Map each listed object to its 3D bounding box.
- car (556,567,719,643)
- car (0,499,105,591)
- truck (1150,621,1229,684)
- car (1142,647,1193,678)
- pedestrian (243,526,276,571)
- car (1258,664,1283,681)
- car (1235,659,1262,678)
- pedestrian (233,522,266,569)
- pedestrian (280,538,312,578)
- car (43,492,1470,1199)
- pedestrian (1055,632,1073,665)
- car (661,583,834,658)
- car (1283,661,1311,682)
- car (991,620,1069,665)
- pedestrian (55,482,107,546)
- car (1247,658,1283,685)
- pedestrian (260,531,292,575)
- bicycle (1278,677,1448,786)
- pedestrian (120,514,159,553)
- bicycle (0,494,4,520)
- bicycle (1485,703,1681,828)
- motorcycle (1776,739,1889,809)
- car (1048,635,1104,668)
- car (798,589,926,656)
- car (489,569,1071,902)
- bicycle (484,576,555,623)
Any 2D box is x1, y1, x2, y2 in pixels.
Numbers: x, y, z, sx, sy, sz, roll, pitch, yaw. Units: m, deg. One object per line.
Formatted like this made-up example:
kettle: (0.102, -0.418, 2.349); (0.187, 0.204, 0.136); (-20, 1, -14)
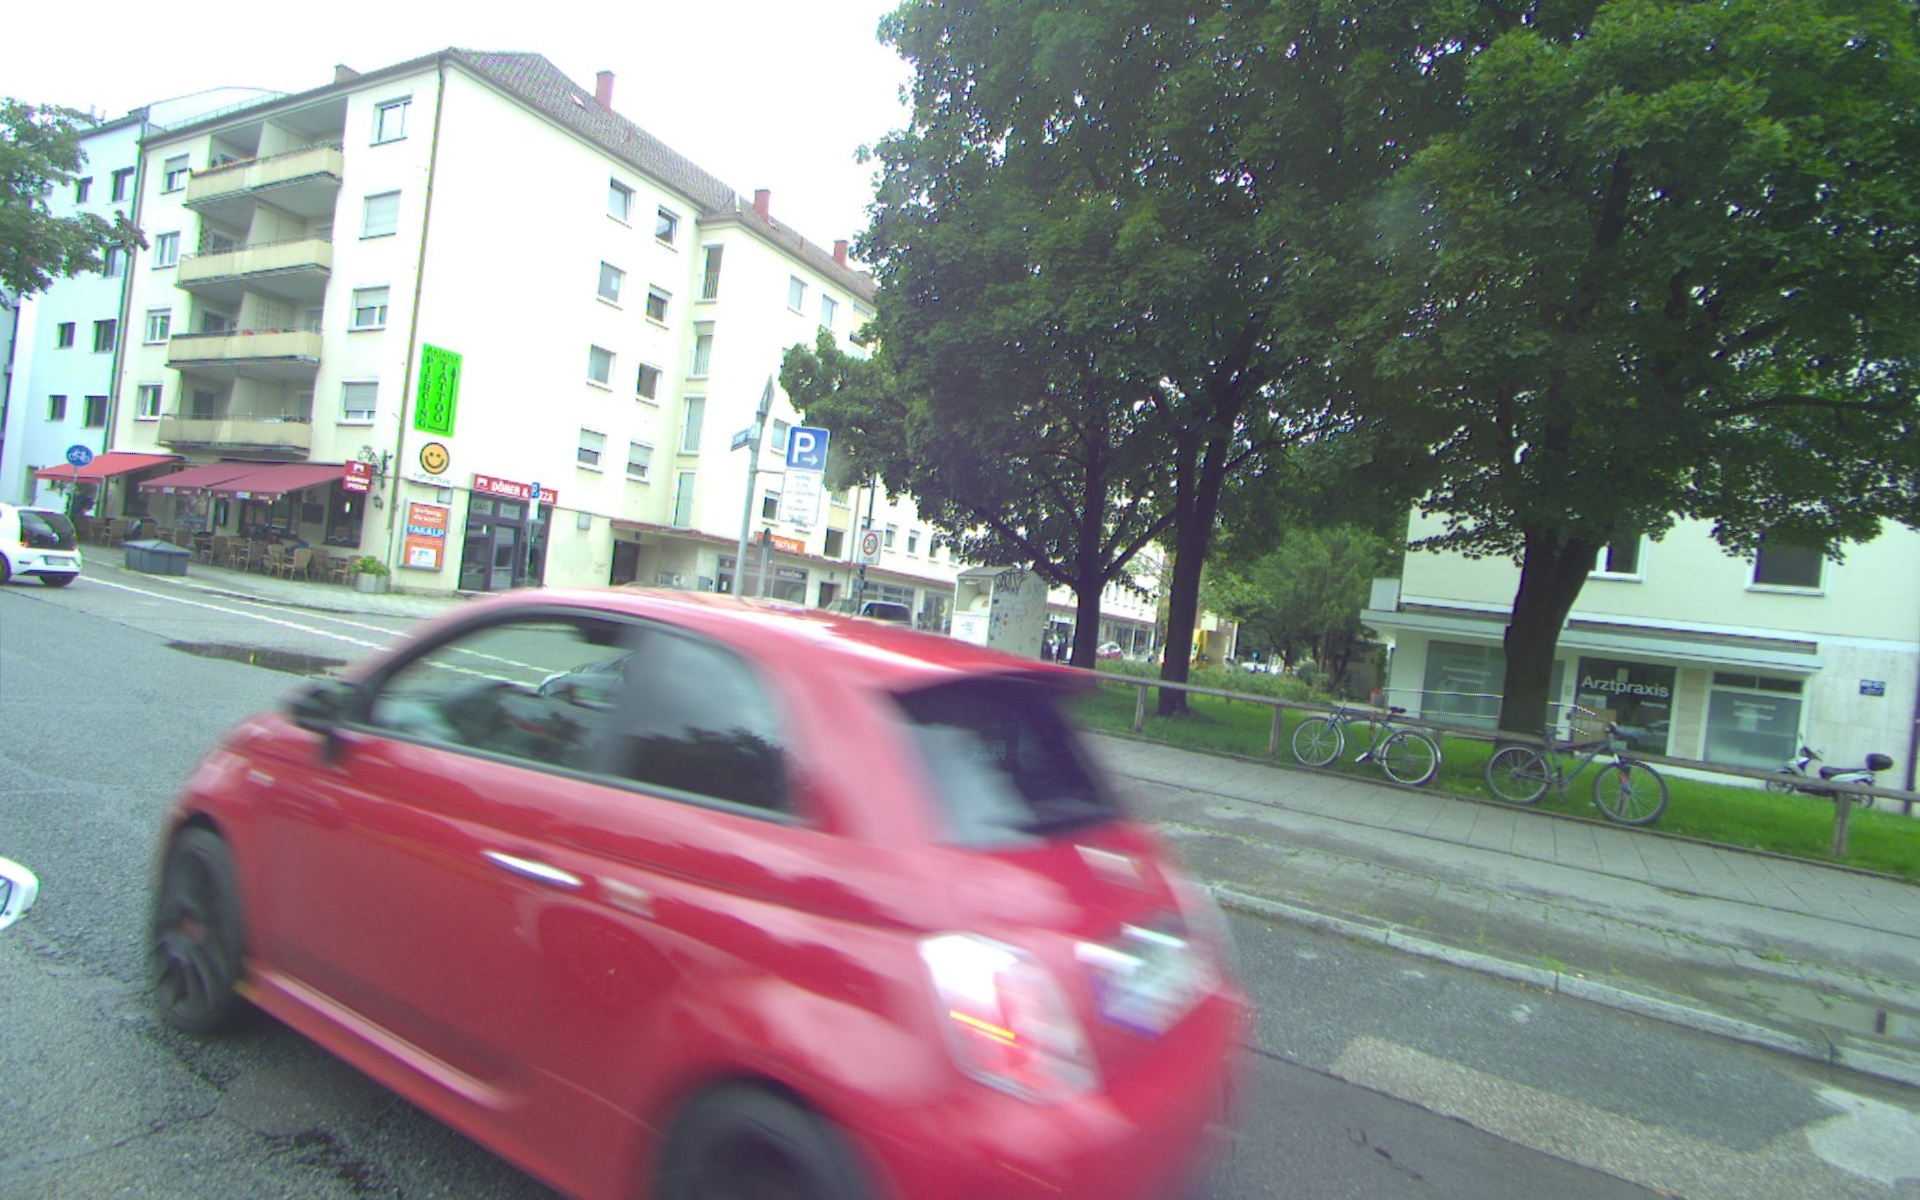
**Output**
car: (-8.539, 0.187, 26.946); (1.701, 1.537, 3.933); (7, -1, 29)
car: (-18.034, -1.161, 18.238); (3.375, 1.507, 1.691); (8, -1, -6)
truck: (11.962, 2.794, 52.019); (2.236, 2.803, 6.765); (7, -1, 26)
car: (14.882, 4.525, 71.839); (1.966, 1.806, 4.994); (7, -1, 29)
pedestrian: (-21.410, -1.584, 30.750); (0.478, 1.283, 0.539); (7, 0, 30)
car: (32.737, 7.622, 106.004); (1.573, 1.459, 3.764); (7, -1, 29)
car: (27.493, 6.536, 95.845); (1.573, 1.459, 3.764); (7, -1, 29)
pedestrian: (-22.134, -1.694, 31.322); (0.543, 1.355, 0.539); (7, 0, 30)
pedestrian: (-19.367, -1.215, 29.334); (0.479, 1.066, 0.539); (7, 0, 31)
car: (-0.886, 0.668, 3.174); (4.228, 1.518, 1.722); (7, -1, 31)
pedestrian: (5.176, 2.403, 49.976); (0.486, 1.551, 0.733); (7, 0, 31)
car: (-5.544, 0.588, 26.713); (1.968, 1.459, 4.213); (7, -1, 34)
car: (30.577, 6.521, 91.279); (1.573, 1.638, 3.764); (7, -1, 30)
car: (3.576, 2.156, 50.112); (2.117, 1.806, 4.999); (7, -1, 24)
pedestrian: (-29.425, -2.866, 33.678); (0.747, 1.952, 0.871); (7, 0, 15)
car: (22.056, 5.180, 72.599); (1.573, 1.638, 3.764); (7, -1, 30)
pedestrian: (-20.577, -1.422, 30.275); (0.479, 1.229, 0.539); (7, 0, 31)
bicycle: (4.983, 1.602, 12.502); (1.822, 1.027, 0.448); (7, 0, 32)
pedestrian: (-27.527, -2.240, 33.761); (0.636, 1.177, 0.745); (7, 0, 31)
bicycle: (-40.785, -3.958, 42.066); (2.159, 1.061, 0.621); (7, 3, 31)
bicycle: (6.919, 1.814, 11.257); (1.738, 1.067, 0.470); (6, -1, 31)
motorcycle: (18.178, 3.605, 20.992); (1.595, 1.133, 0.605); (7, 0, 32)
car: (6.384, 2.851, 55.045); (1.573, 1.459, 3.764); (7, -1, 29)
car: (-3.482, 0.886, 36.788); (1.966, 1.907, 4.994); (7, -1, 29)
car: (-1.390, 0.801, 7.284); (3.890, 1.494, 1.647); (7, -1, 31)
bicycle: (-11.439, -0.005, 26.167); (0.545, 1.023, 1.541); (7, -1, 34)
